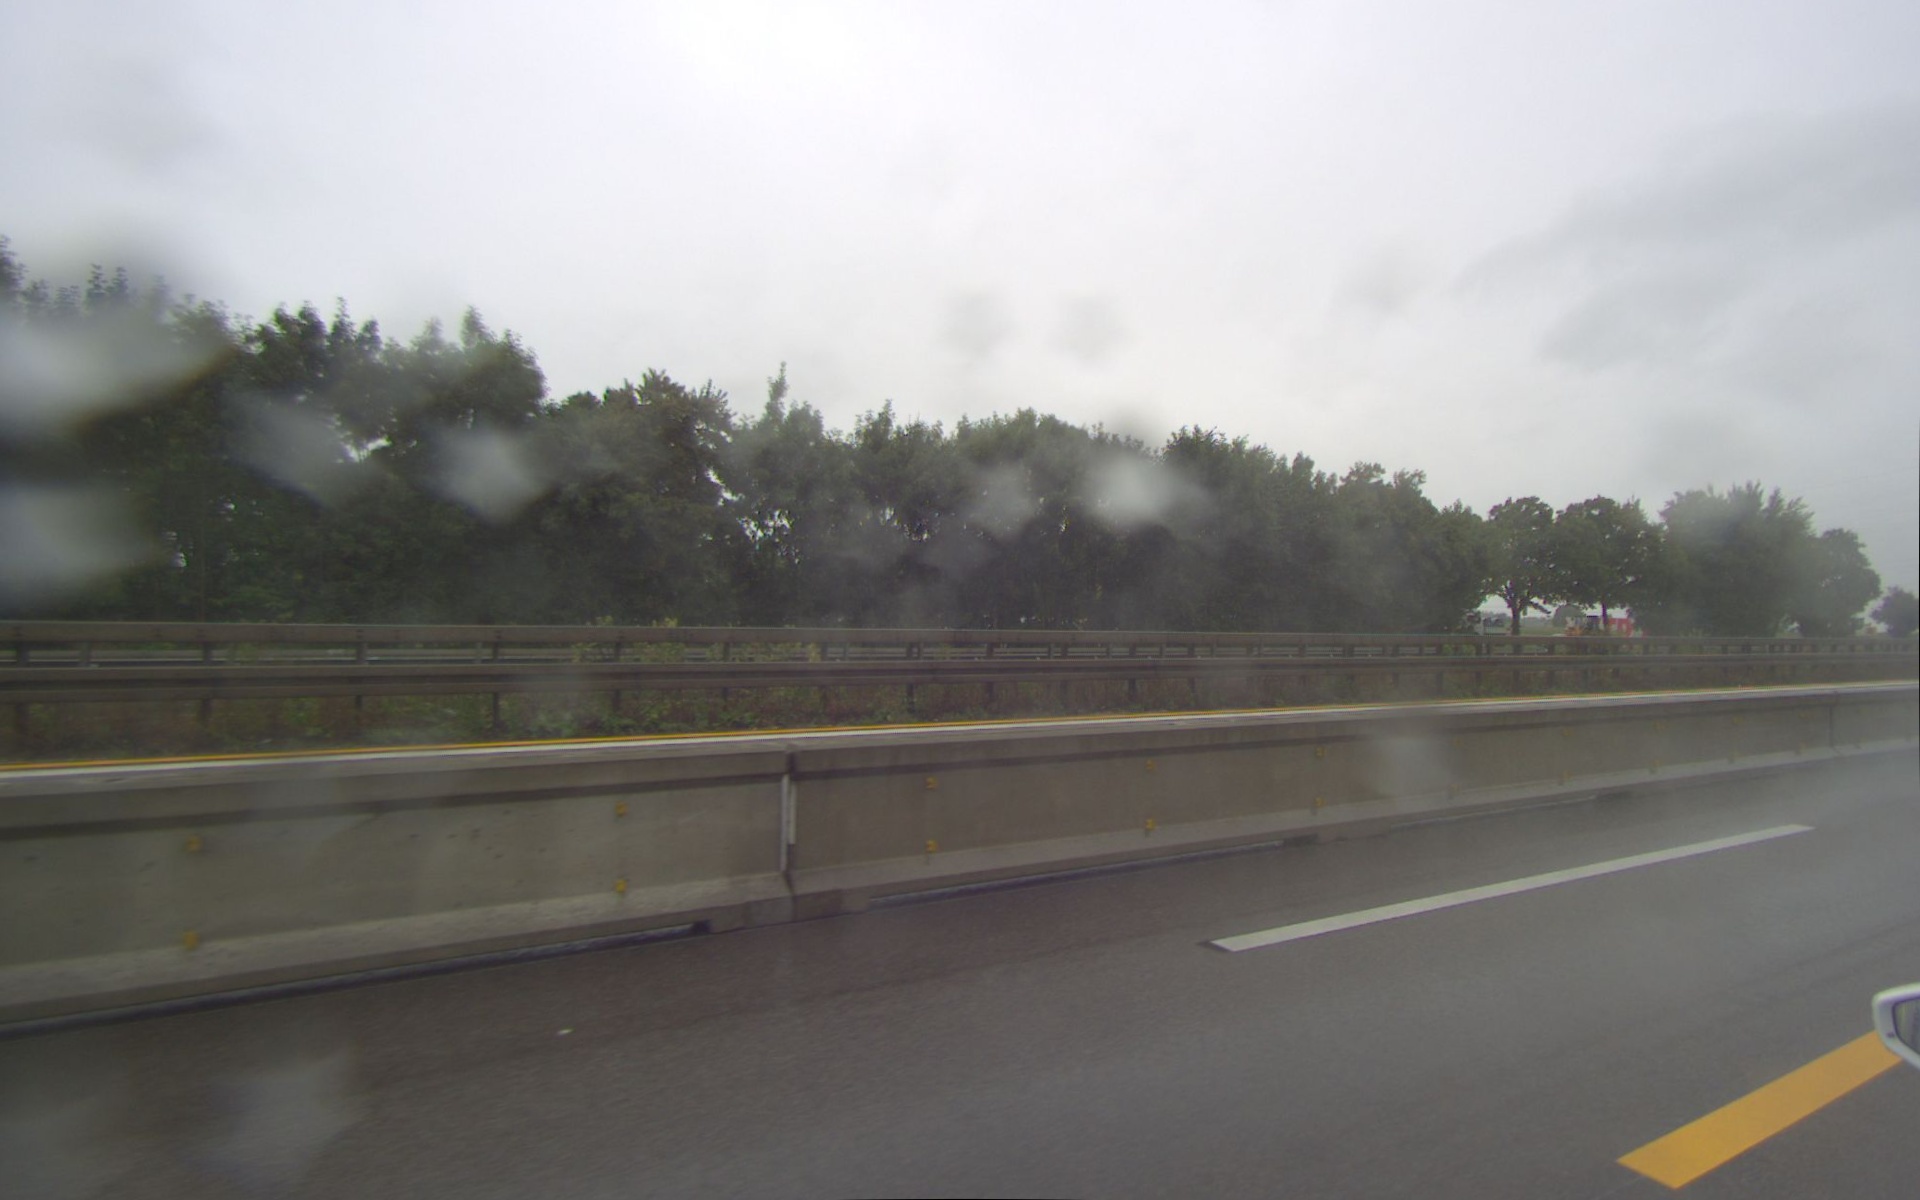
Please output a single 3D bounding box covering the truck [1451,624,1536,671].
[{"bbox_3d":[39.149,3.476,73.653,5.792,3.255,2.604,3,-1,-27],"label":"truck"}]
